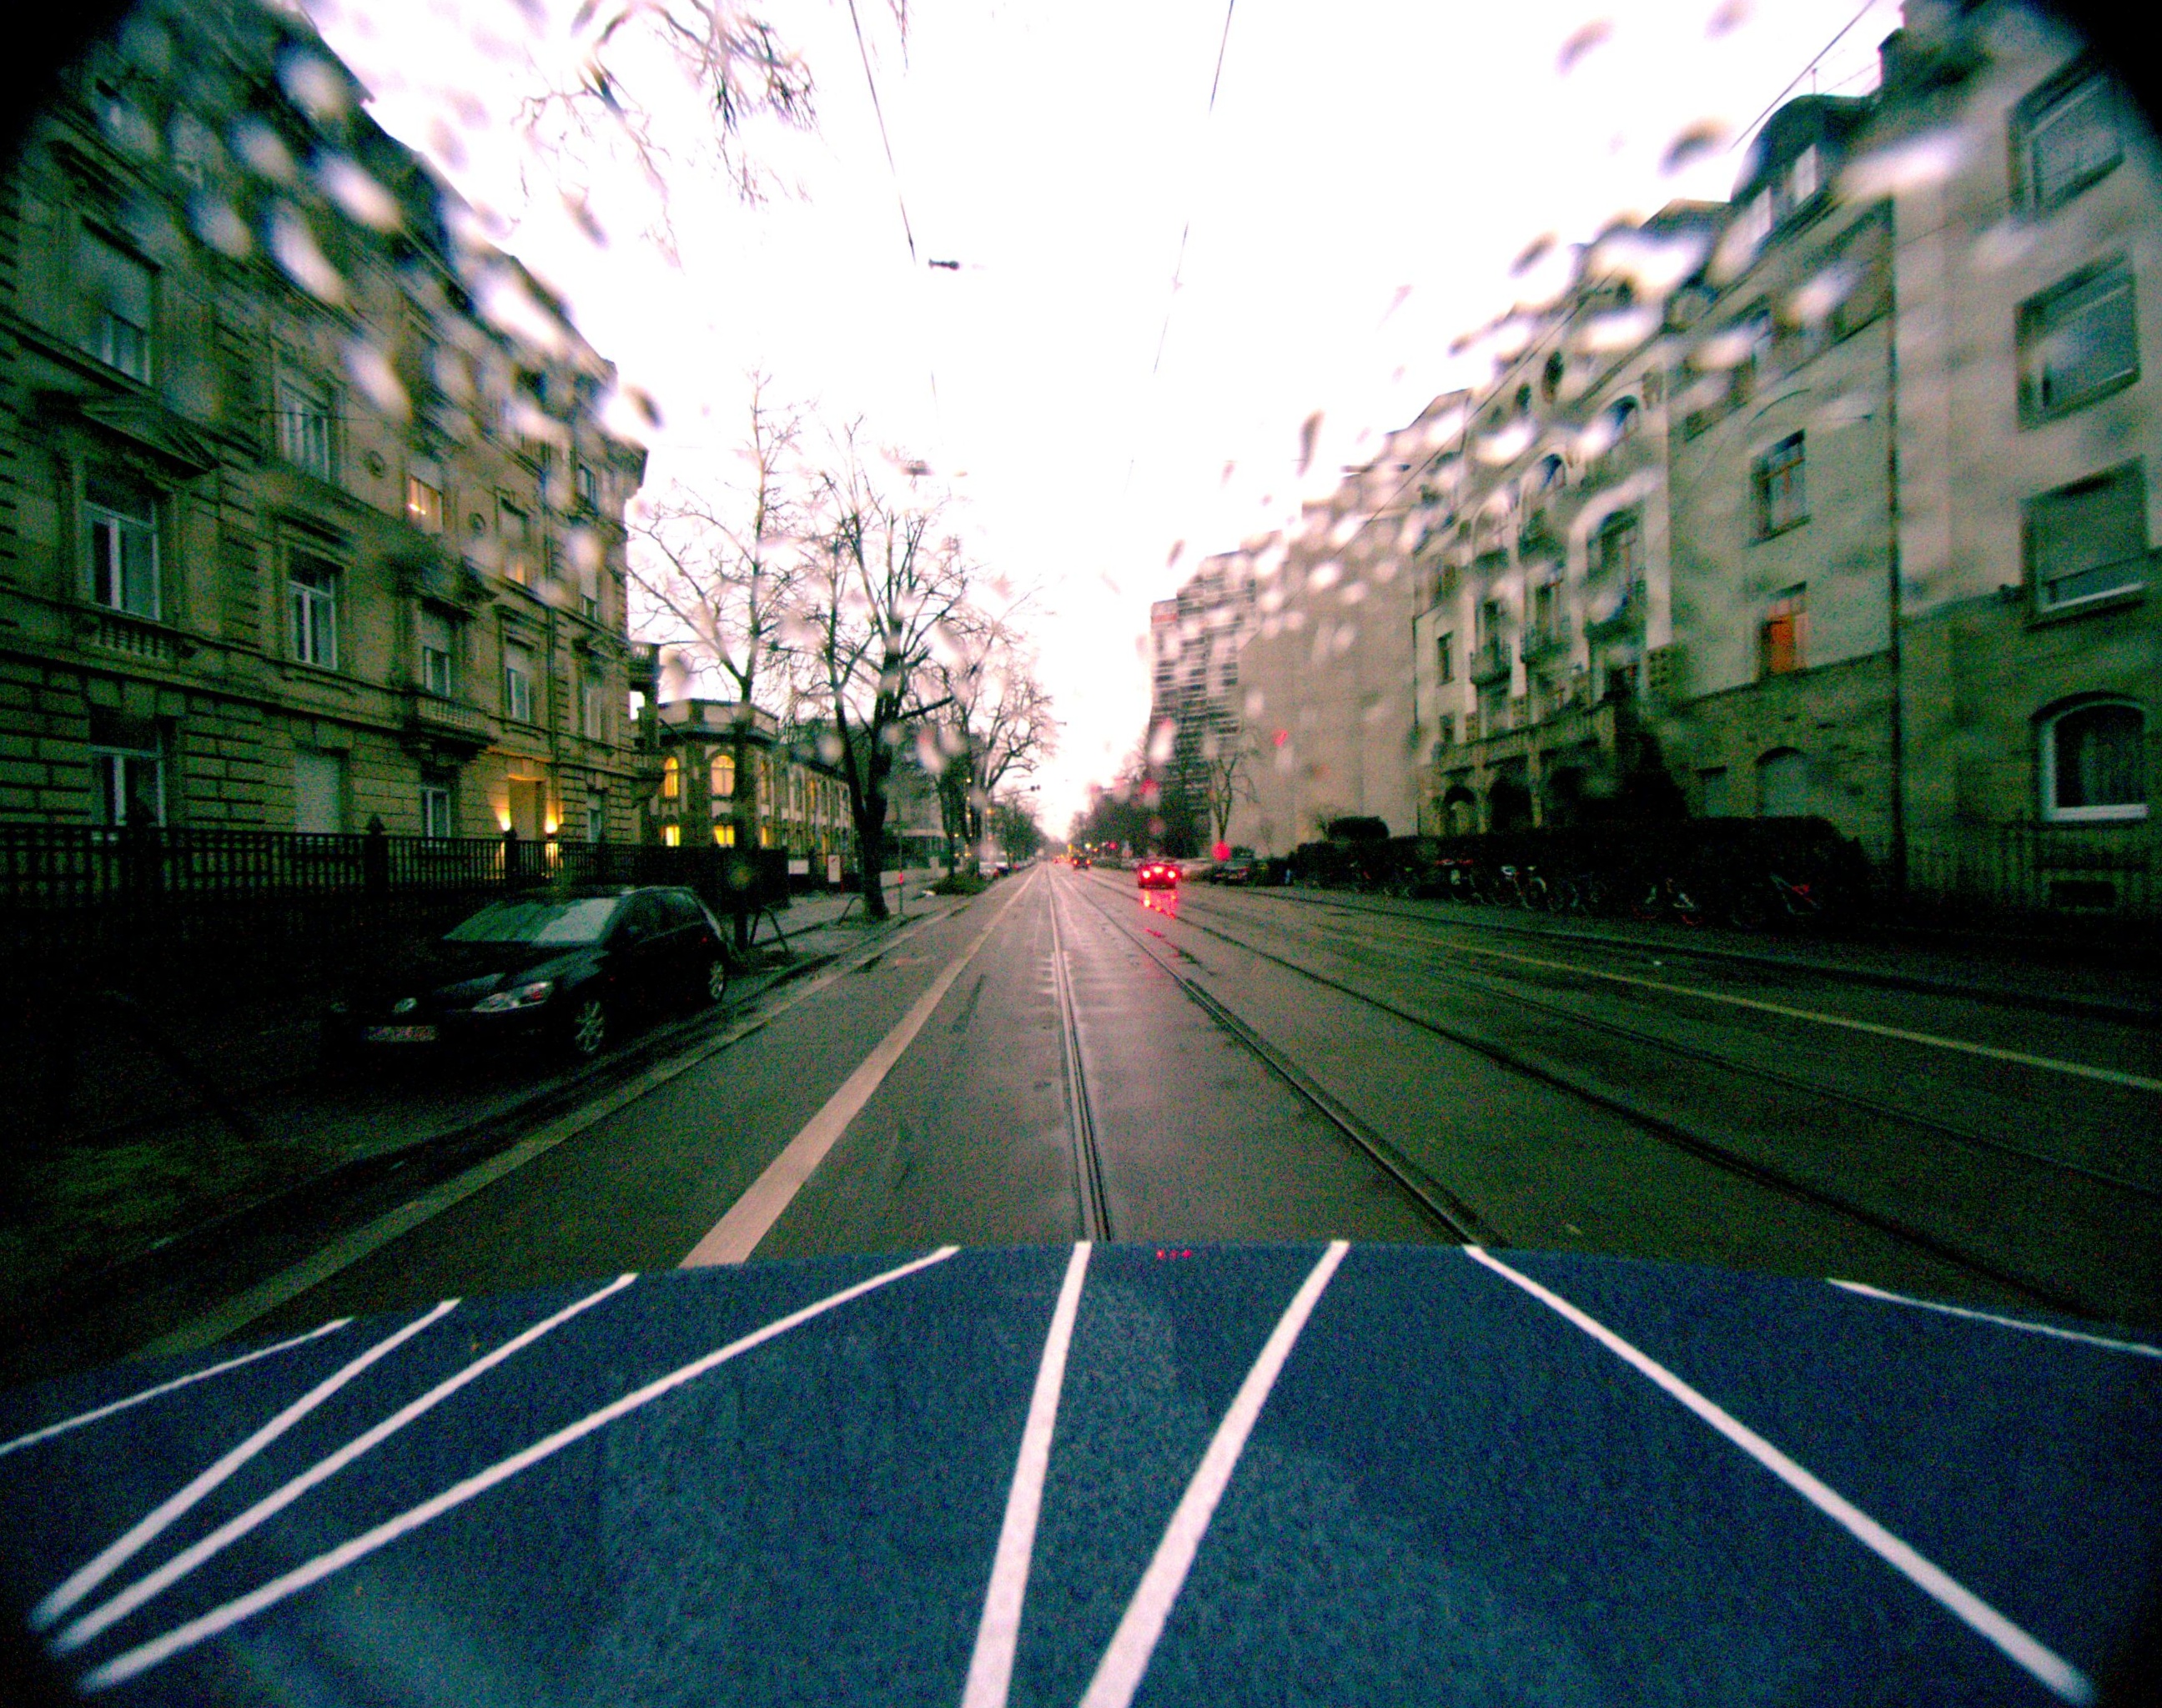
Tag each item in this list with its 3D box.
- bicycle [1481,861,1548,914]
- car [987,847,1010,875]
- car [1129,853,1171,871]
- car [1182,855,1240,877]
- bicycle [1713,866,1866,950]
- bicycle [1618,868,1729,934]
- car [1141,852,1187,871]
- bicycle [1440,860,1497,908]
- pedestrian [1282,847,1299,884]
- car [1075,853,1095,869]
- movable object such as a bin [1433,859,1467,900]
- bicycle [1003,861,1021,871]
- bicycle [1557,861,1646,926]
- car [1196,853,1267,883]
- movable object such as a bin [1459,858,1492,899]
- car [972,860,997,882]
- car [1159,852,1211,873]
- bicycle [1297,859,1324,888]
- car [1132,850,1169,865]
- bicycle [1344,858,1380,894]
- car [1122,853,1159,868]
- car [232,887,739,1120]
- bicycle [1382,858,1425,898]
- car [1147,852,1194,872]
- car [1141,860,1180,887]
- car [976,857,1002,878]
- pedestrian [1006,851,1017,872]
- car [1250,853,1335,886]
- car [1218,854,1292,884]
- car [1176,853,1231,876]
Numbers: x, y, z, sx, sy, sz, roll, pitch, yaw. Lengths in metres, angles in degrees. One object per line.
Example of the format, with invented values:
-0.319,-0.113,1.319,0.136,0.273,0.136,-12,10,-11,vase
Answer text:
10.237,0.764,18.011,0.625,1.157,1.662,-1,0,0,bicycle
-8.118,0.659,75.108,2.093,2.622,5.446,-2,1,-5,car
6.866,0.784,75.767,4.007,1.586,1.864,-2,0,-39,car
9.301,0.853,54.334,4.007,1.440,1.864,-2,0,-39,car
10.602,0.765,11.464,0.625,1.119,1.783,-1,0,0,bicycle
10.496,0.798,13.545,0.625,1.059,1.726,-1,0,0,bicycle
7.721,0.698,70.502,4.007,1.586,1.864,-2,0,-39,car
10.198,0.764,20.045,0.625,1.205,1.662,-1,0,0,bicycle
9.883,0.535,35.833,0.574,1.715,0.644,-3,2,2,pedestrian
0.468,0.921,99.525,2.239,2.002,4.459,-2,1,-4,car
10.913,0.745,22.472,0.659,1.157,0.674,-1,0,0,movable object such as a bin
-7.735,1.373,85.052,1.918,0.986,0.858,-2,1,-4,bicycle
10.421,0.764,15.275,0.625,1.205,1.662,-1,0,0,bicycle
8.714,0.775,43.942,4.007,1.586,1.864,-2,0,-39,car
11.631,0.714,22.410,0.625,1.157,0.674,-1,0,0,movable object such as a bin
-7.021,1.193,55.403,1.628,1.399,3.997,-2,1,-5,car
8.339,0.678,61.022,4.007,1.586,1.864,-2,0,-39,car
9.537,0.810,31.629,0.625,1.157,1.662,-2,0,0,bicycle
7.954,0.404,86.951,4.007,1.586,1.864,-2,0,-39,car
9.872,0.742,26.718,0.625,1.205,1.662,-1,0,0,bicycle
7.004,0.744,89.272,4.007,1.586,1.864,-2,0,-39,car
-5.004,1.119,7.289,1.762,1.437,4.156,1,-1,-3,car
10.142,0.741,23.954,0.625,1.205,1.662,-1,0,0,bicycle
7.997,0.712,67.499,4.007,1.586,1.864,-2,0,-39,car
4.098,0.968,38.718,1.709,1.245,3.669,-1,0,10,car
-7.869,1.133,65.213,1.999,1.672,3.997,-2,1,-5,car
-7.754,0.812,85.039,1.118,2.246,0.952,-2,1,-5,pedestrian
10.722,0.774,38.540,4.006,1.485,1.865,-2,0,-31,car
9.410,0.785,40.896,4.007,1.477,1.760,-2,0,-39,car
9.362,0.799,57.962,4.007,1.586,1.864,-2,0,-39,car
